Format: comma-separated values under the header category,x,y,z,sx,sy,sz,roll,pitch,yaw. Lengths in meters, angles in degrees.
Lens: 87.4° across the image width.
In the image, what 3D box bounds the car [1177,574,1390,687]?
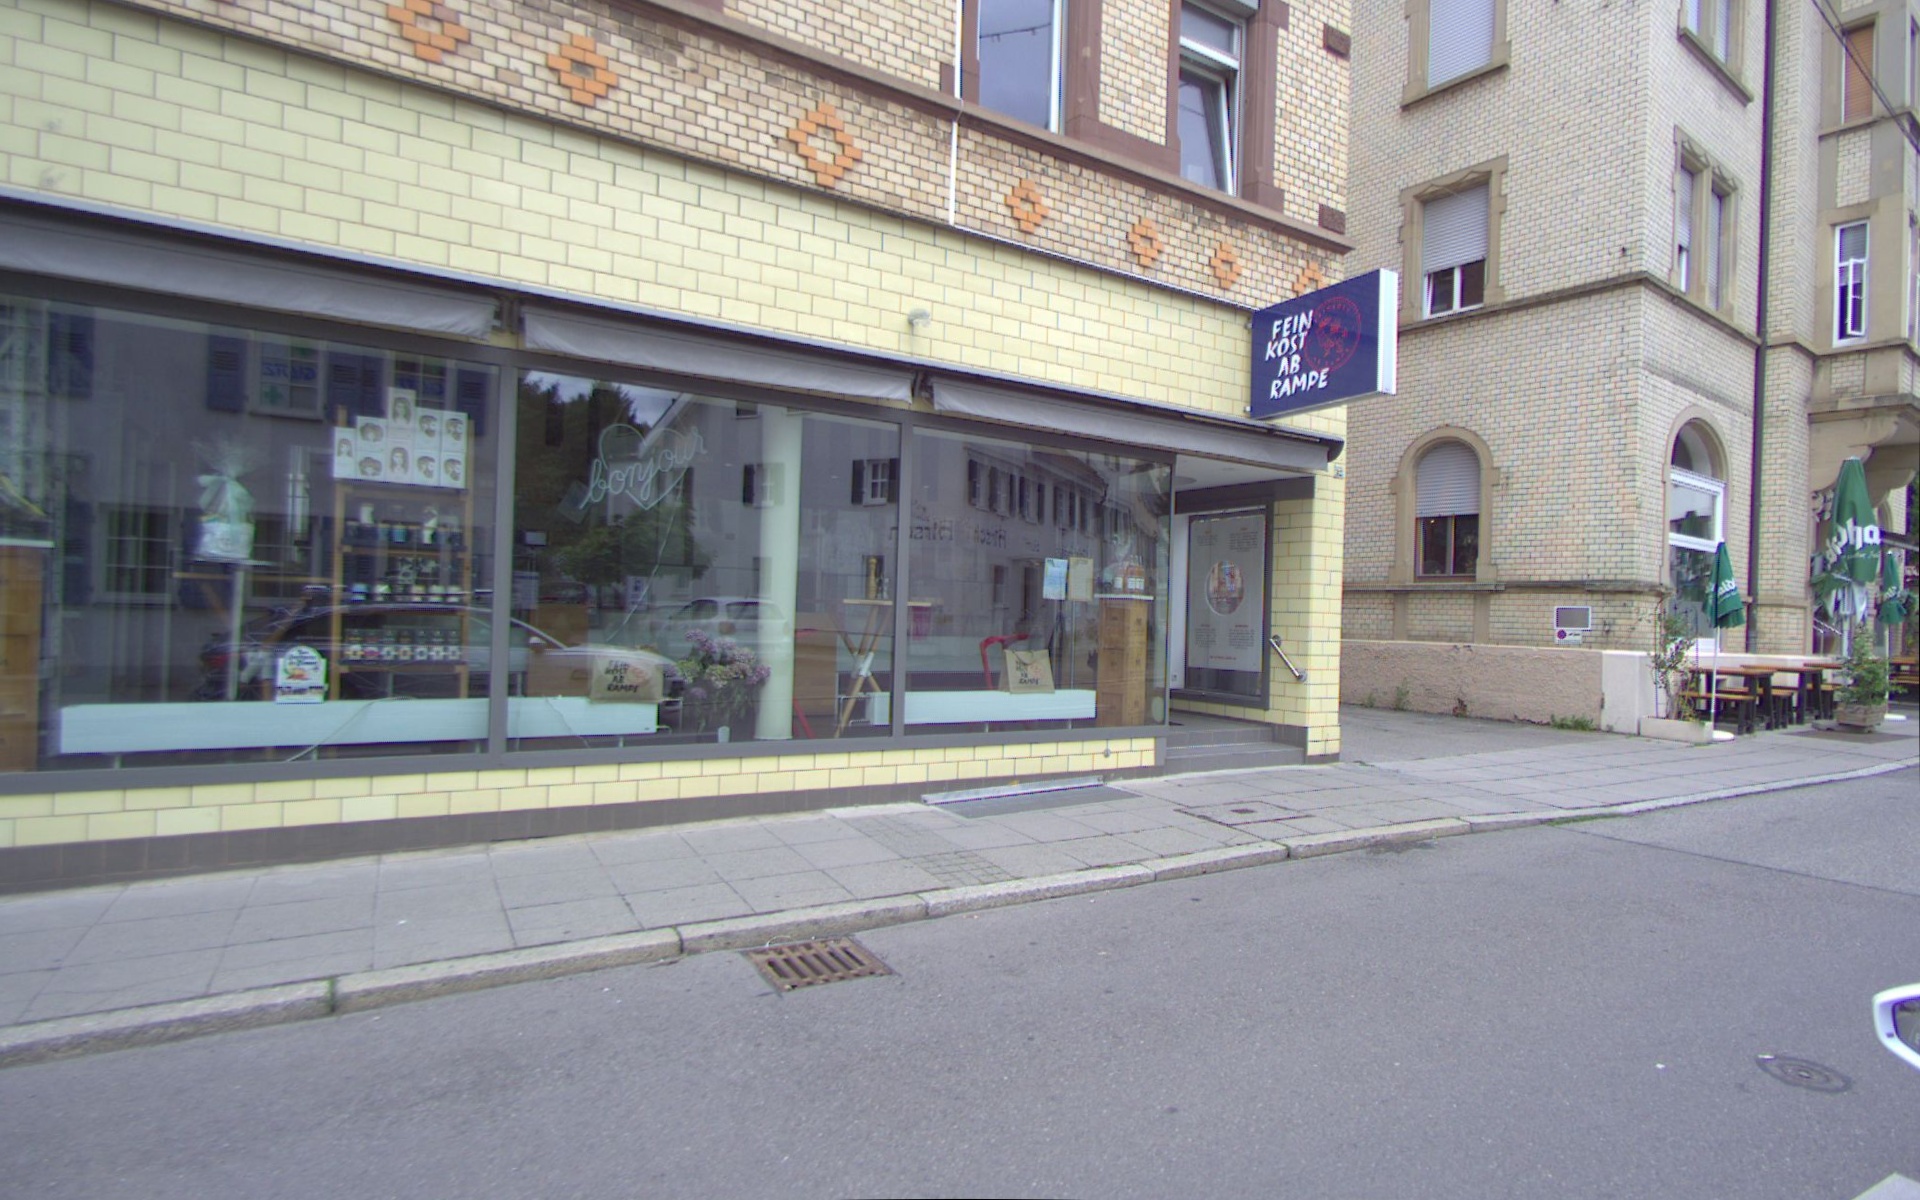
category,x,y,z,sx,sy,sz,roll,pitch,yaw
car,6.541,0.572,20.222,3.956,2.041,1.982,1,1,-33

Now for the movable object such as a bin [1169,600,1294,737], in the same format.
category,x,y,z,sx,sy,sz,roll,pitch,yaw
movable object such as a bin,3.007,0.754,11.181,0.814,1.396,0.937,5,0,-30

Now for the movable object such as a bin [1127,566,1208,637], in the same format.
category,x,y,z,sx,sy,sz,roll,pitch,yaw
movable object such as a bin,4.609,0.020,22.467,1.270,1.523,1.801,0,2,-6
